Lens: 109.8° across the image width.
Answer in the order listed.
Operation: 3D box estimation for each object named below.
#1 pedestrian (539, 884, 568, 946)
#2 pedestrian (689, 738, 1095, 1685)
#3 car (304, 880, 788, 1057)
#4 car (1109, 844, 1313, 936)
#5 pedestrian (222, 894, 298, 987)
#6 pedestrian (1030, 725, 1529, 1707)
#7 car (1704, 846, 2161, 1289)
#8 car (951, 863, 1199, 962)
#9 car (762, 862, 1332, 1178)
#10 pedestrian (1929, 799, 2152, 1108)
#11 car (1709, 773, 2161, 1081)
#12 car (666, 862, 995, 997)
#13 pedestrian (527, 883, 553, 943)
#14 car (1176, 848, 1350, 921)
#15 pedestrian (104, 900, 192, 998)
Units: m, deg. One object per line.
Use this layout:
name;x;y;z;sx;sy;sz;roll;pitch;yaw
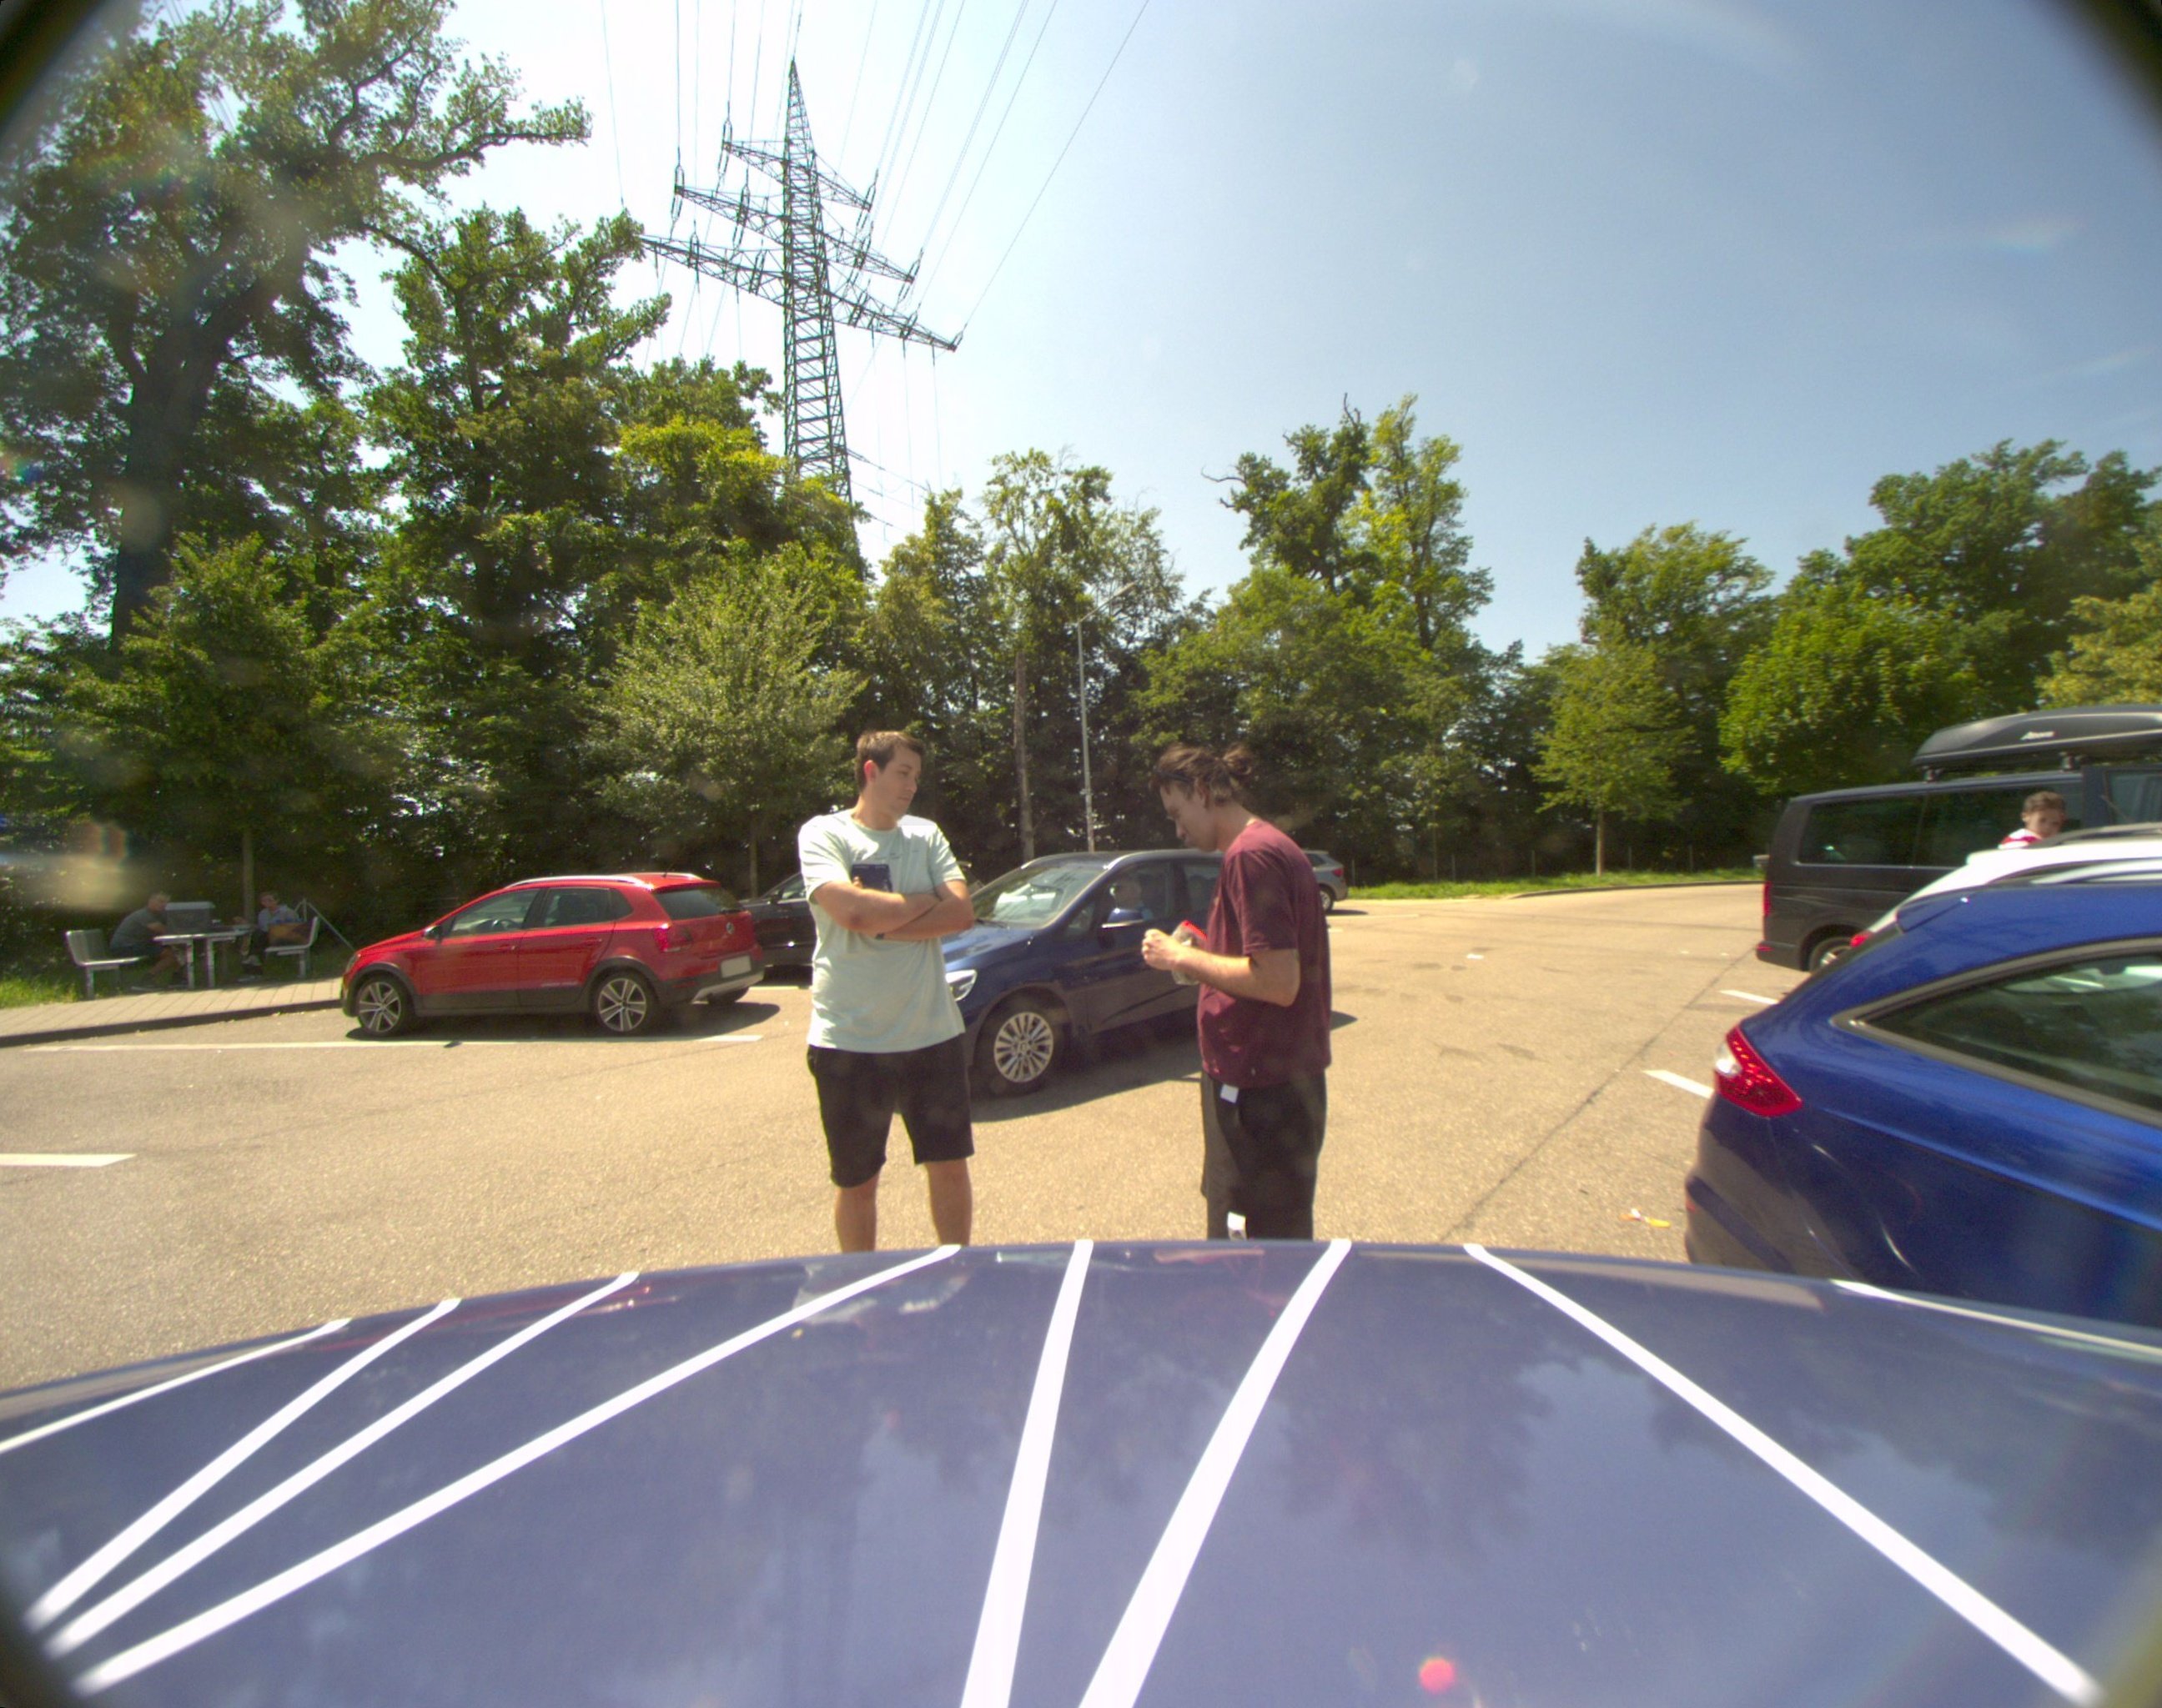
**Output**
pedestrian;-10.149;1.165;14.621;0.357;1.158;0.384;-3;2;-41
pedestrian;-0.561;0.723;2.124;0.815;1.939;0.919;-3;1;-24
car;-5.217;1.092;7.667;3.823;1.460;1.651;-2;1;8
car;2.621;0.712;15.453;3.822;1.686;1.652;-2;1;12
pedestrian;-11.847;1.231;10.983;0.595;1.238;0.499;-3;1;-33
pedestrian;0.482;0.717;1.926;0.919;1.894;0.815;-2;1;16
car;4.660;0.731;2.248;1.757;1.496;4.574;-3;-1;-1
car;-0.060;0.934;12.671;3.825;1.394;1.651;-2;1;4
car;0.002;0.904;6.079;4.353;1.544;1.743;-2;1;-40
pedestrian;6.008;0.556;4.818;0.756;1.744;0.783;-3;2;-45
car;7.388;0.416;5.280;1.758;1.886;4.571;-3;-1;-9
car;-3.235;0.963;10.296;3.825;1.546;1.651;-2;1;4
pedestrian;-10.994;1.189;15.436;0.357;1.158;0.384;-3;2;-41
car;4.281;0.709;18.148;3.822;1.551;1.652;-2;1;12
pedestrian;-12.714;1.271;10.369;0.595;1.238;0.446;-3;1;-33
